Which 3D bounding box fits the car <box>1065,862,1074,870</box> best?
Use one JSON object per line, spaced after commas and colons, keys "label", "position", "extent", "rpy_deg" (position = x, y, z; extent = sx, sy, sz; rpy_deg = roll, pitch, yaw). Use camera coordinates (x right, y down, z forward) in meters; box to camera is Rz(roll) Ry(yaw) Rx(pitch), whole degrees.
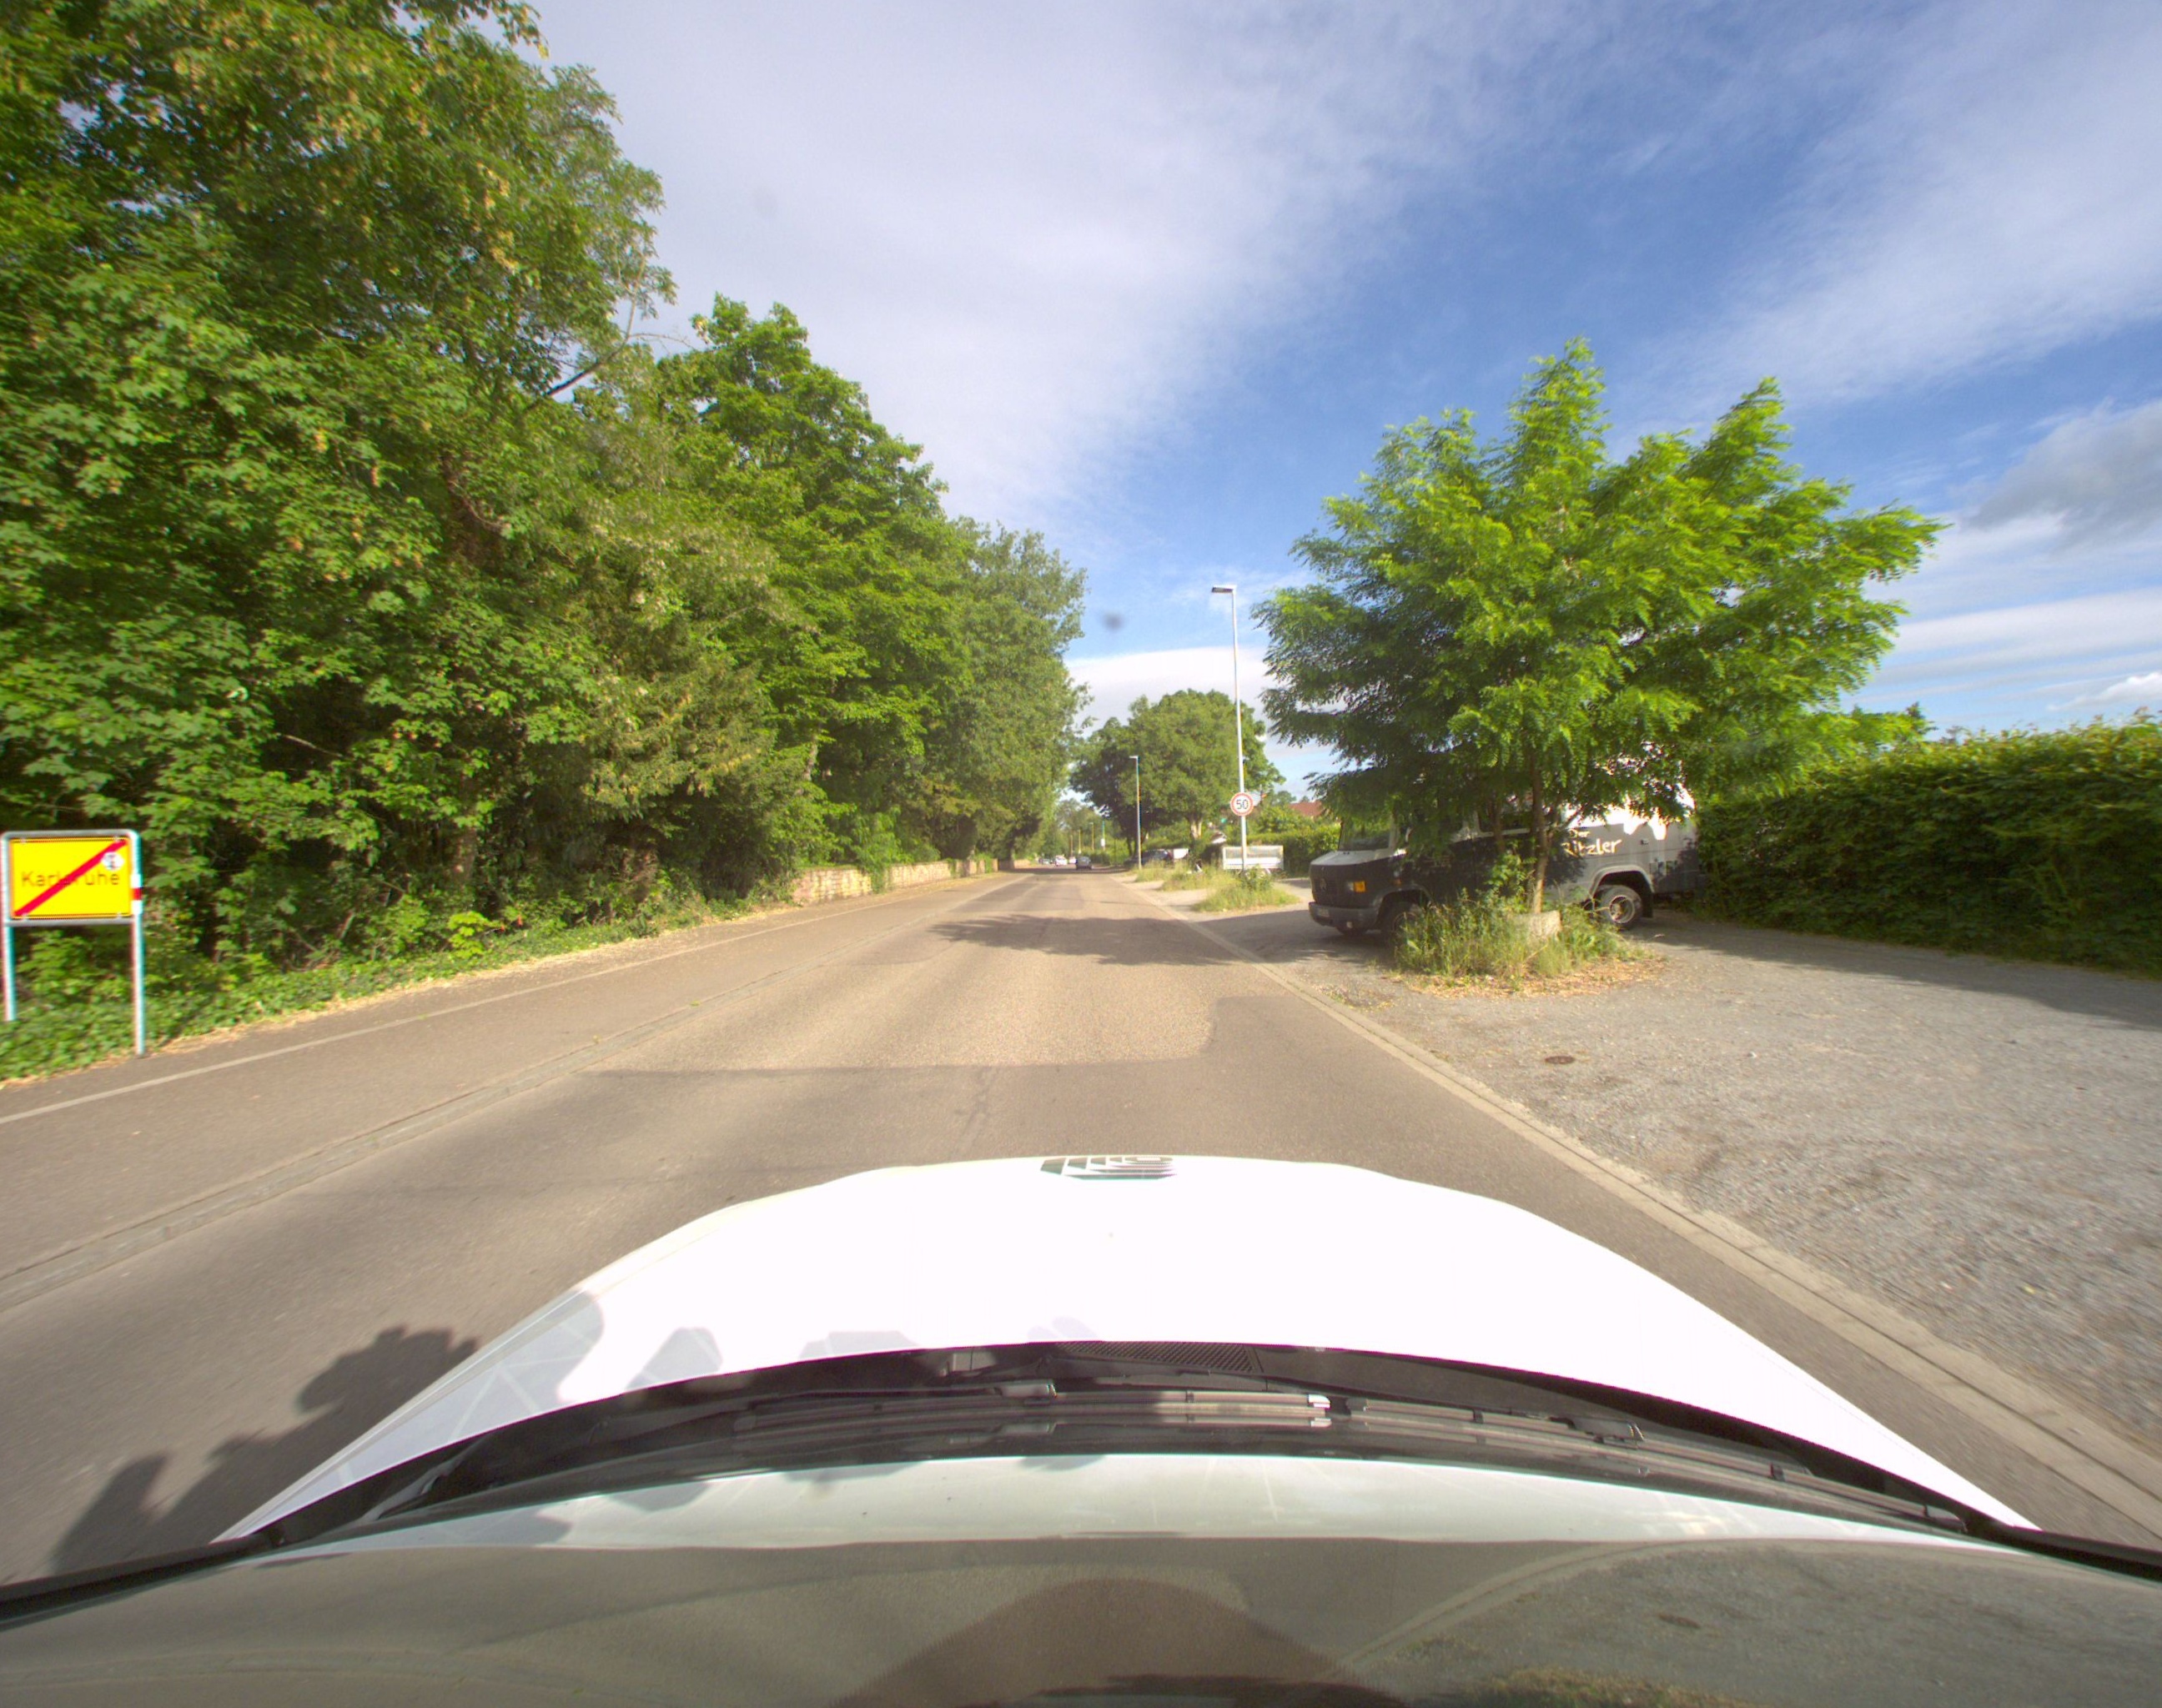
{"label": "car", "position": [-2.403, 2.603, 171.712], "extent": [1.881, 1.613, 4.052], "rpy_deg": [-1, -1, -1]}

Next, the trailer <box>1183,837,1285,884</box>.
{"label": "trailer", "position": [6.602, 0.288, 35.525], "extent": [4.134, 1.835, 1.918], "rpy_deg": [-3, -1, 3]}

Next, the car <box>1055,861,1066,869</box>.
{"label": "car", "position": [-3.594, 1.976, 142.918], "extent": [1.882, 1.372, 4.050], "rpy_deg": [-1, -1, -3]}

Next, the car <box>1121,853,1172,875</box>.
{"label": "car", "position": [5.957, 0.875, 73.906], "extent": [4.389, 1.647, 2.000], "rpy_deg": [-4, -1, 0]}

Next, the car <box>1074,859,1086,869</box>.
{"label": "car", "position": [-0.196, 1.766, 145.923], "extent": [1.881, 1.613, 4.052], "rpy_deg": [-1, -1, -1]}

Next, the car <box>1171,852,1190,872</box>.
{"label": "car", "position": [8.835, 0.692, 72.056], "extent": [1.342, 1.632, 4.123], "rpy_deg": [-4, -1, 10]}

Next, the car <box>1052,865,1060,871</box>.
{"label": "car", "position": [-6.195, 3.445, 201.306], "extent": [1.881, 1.613, 4.052], "rpy_deg": [-1, -1, -1]}

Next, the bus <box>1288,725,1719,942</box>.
{"label": "bus", "position": [6.098, -0.308, 12.176], "extent": [5.354, 2.747, 2.066], "rpy_deg": [-3, 0, -4]}

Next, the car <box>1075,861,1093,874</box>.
{"label": "car", "position": [0.281, 1.456, 90.563], "extent": [1.881, 1.372, 4.052], "rpy_deg": [-1, -1, -1]}

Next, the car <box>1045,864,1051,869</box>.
{"label": "car", "position": [-9.724, 3.692, 240.581], "extent": [1.573, 1.452, 3.396], "rpy_deg": [-2, -1, -2]}

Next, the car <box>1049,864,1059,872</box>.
{"label": "car", "position": [-5.733, 2.902, 172.446], "extent": [1.881, 1.613, 4.052], "rpy_deg": [-1, -1, -1]}
